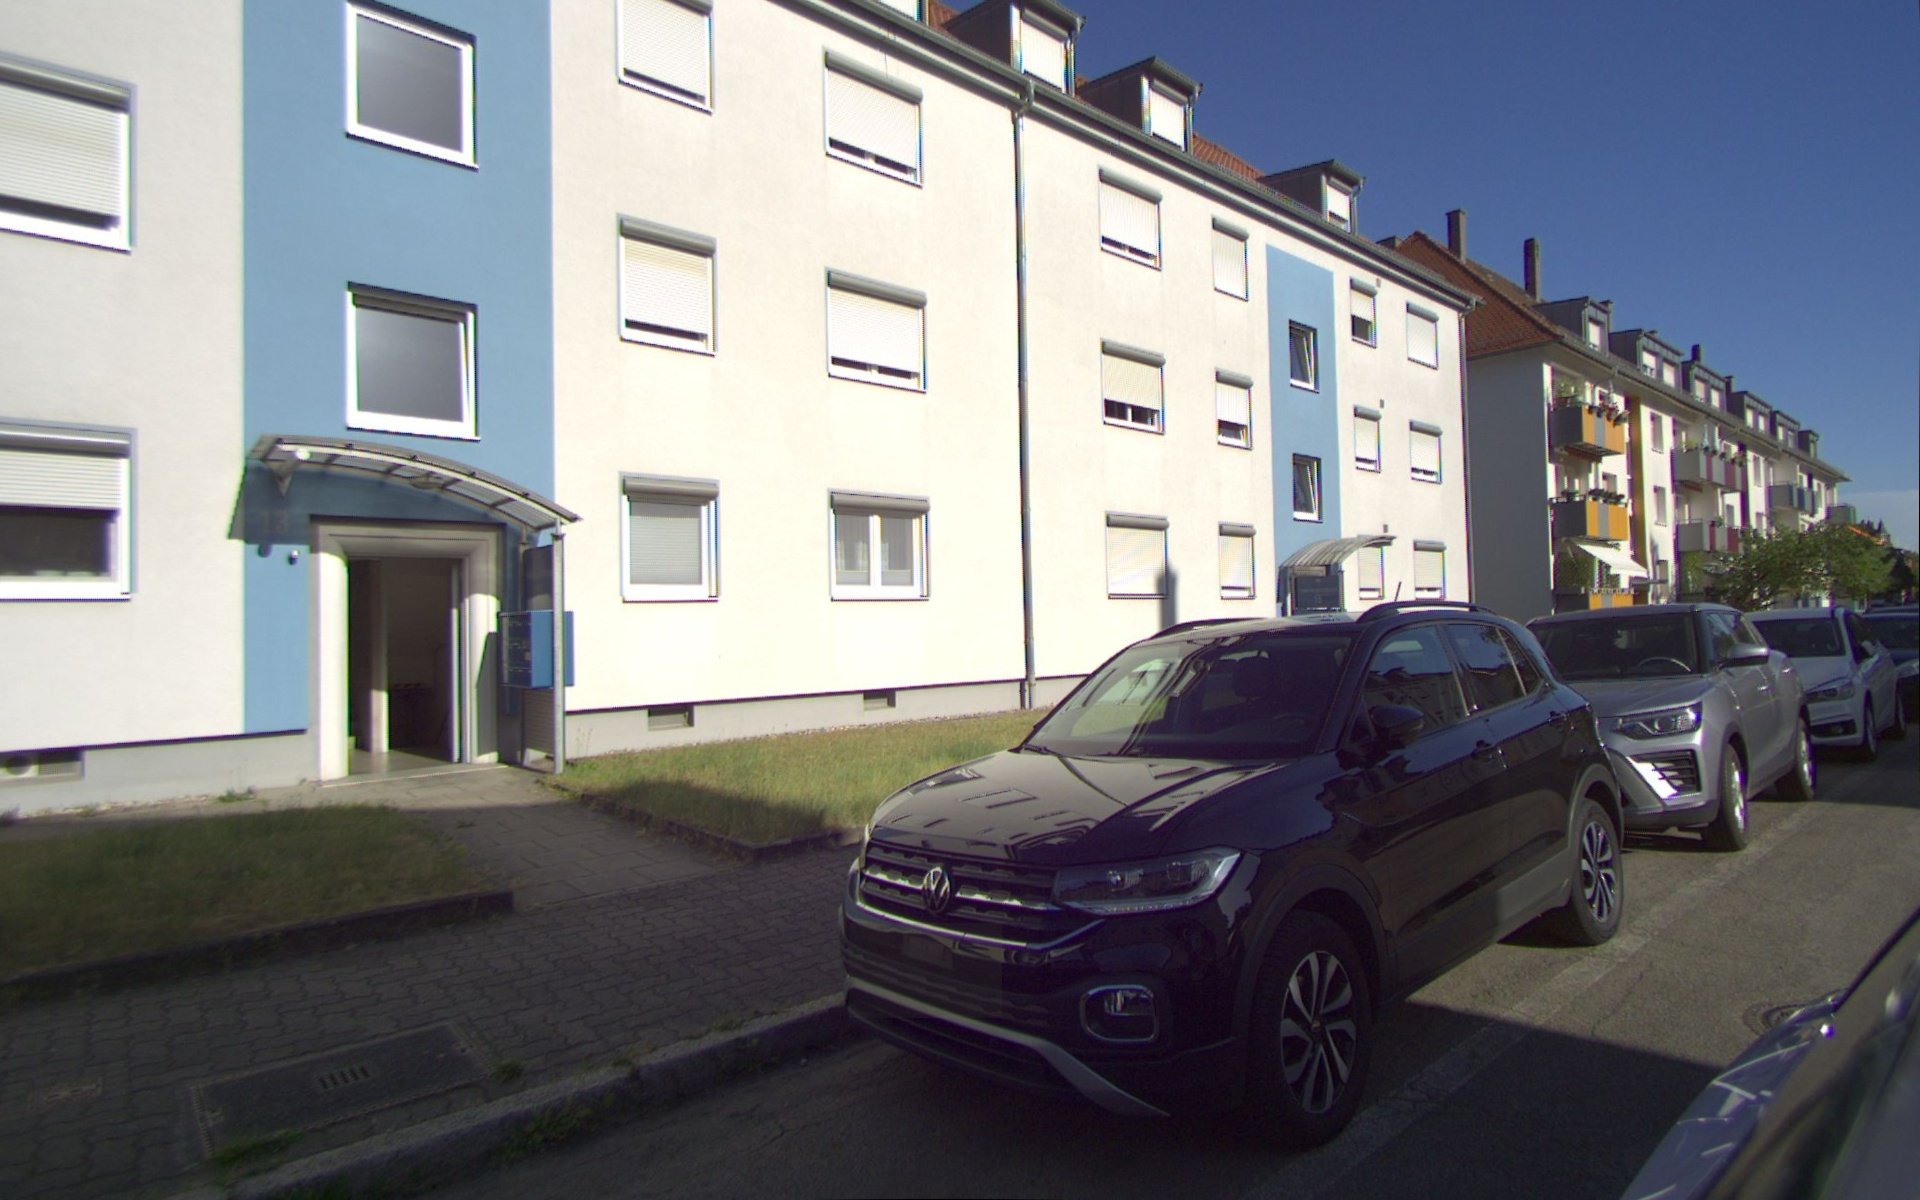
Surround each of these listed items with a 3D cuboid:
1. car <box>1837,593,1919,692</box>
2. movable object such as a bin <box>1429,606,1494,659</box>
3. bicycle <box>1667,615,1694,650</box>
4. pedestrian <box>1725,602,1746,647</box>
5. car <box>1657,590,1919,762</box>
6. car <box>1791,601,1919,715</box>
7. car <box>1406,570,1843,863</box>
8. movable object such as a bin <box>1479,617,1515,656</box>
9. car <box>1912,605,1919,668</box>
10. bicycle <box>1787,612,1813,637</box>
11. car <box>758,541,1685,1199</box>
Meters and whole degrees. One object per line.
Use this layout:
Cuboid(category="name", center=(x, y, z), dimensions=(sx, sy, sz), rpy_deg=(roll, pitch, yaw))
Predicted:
Cuboid(category="car", center=(17.750, 0.723, 18.555), dimensions=(4.389, 1.670, 1.786), rpy_deg=(0, -3, -40))
Cuboid(category="movable object such as a bin", center=(14.383, 0.901, 29.035), dimensions=(1.087, 1.424, 1.330), rpy_deg=(-2, 1, -40))
Cuboid(category="bicycle", center=(23.931, 1.080, 33.619), dimensions=(1.250, 1.147, 0.404), rpy_deg=(0, -2, -40))
Cuboid(category="pedestrian", center=(26.750, 0.849, 34.910), dimensions=(0.354, 1.514, 0.451), rpy_deg=(-2, 0, -40))
Cuboid(category="car", center=(9.594, 0.752, 11.525), dimensions=(4.358, 1.595, 1.692), rpy_deg=(0, -3, -42))
Cuboid(category="car", center=(14.032, 0.785, 15.195), dimensions=(4.082, 1.518, 1.644), rpy_deg=(0, -2, -40))
Cuboid(category="car", center=(5.318, 0.719, 7.833), dimensions=(4.377, 1.639, 1.751), rpy_deg=(0, -4, -43))
Cuboid(category="movable object such as a bin", center=(14.964, 1.010, 28.215), dimensions=(0.744, 1.047, 0.644), rpy_deg=(-2, 1, -40))
Cuboid(category="car", center=(25.174, 0.861, 25.259), dimensions=(2.886, 1.549, 1.483), rpy_deg=(0, -4, -37))
Cuboid(category="bicycle", center=(36.982, 1.060, 44.547), dimensions=(2.248, 1.062, 0.521), rpy_deg=(0, 0, -41))
Cuboid(category="car", center=(1.473, 0.719, 4.387), dimensions=(4.321, 1.616, 1.714), rpy_deg=(0, -3, -41))
